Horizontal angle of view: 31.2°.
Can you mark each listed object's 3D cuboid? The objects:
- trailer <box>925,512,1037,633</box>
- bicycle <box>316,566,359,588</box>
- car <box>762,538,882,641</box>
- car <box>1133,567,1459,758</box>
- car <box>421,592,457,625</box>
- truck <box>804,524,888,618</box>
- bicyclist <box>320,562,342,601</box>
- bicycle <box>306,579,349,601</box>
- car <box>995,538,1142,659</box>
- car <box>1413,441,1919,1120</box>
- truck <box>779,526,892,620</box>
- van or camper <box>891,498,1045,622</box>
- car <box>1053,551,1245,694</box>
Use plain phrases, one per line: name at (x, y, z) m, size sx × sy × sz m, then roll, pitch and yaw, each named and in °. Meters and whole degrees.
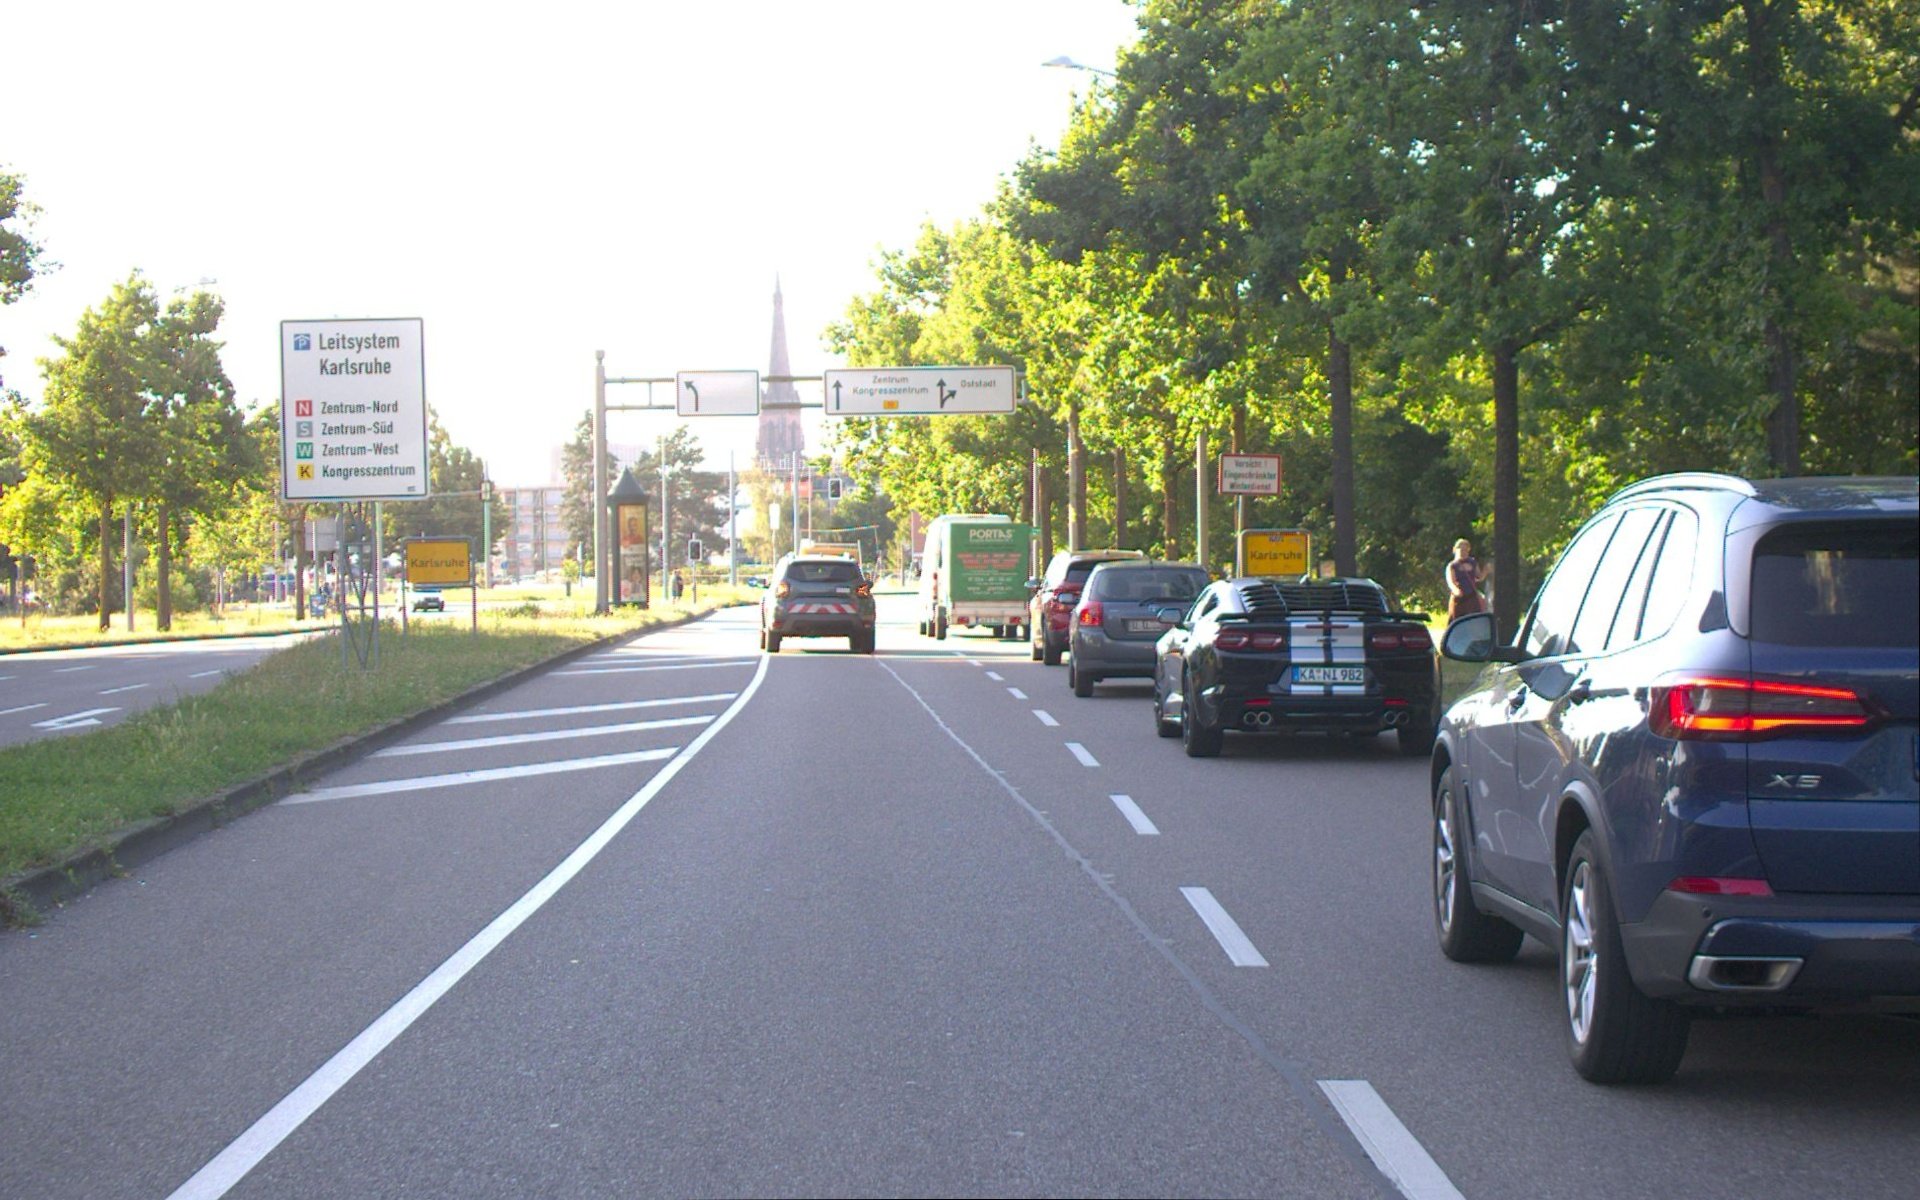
trailer at (0.401, -0.568, 70.445) m, size 2.090 × 2.392 × 3.501 m, roll 1°, pitch 1°, yaw -3°
bicycle at (-28.803, -1.068, 159.111) m, size 1.908 × 1.016 × 0.504 m, roll 0°, pitch 1°, yaw 5°
car at (-2.374, -0.187, 58.235) m, size 1.905 × 1.654 × 4.001 m, roll -1°, pitch 0°, yaw -4°
car at (2.518, 0.427, 26.881) m, size 1.854 × 1.333 × 4.626 m, roll 0°, pitch 1°, yaw -3°
car at (-25.790, 0.403, 170.117) m, size 1.562 × 1.569 × 3.413 m, roll -1°, pitch 1°, yaw -6°
truck at (-3.334, -0.847, 99.770) m, size 2.219 × 2.642 × 4.774 m, roll -1°, pitch 1°, yaw -4°
bicyclist at (-28.879, -0.860, 157.823) m, size 0.813 × 1.764 × 0.496 m, roll 1°, pitch 0°, yaw 12°
bicycle at (-29.038, -0.453, 157.863) m, size 1.909 × 1.016 × 0.504 m, roll 0°, pitch 0°, yaw 13°
car at (1.509, -0.004, 48.998) m, size 1.747 × 1.615 × 3.820 m, roll 1°, pitch -1°, yaw -3°
car at (2.718, 0.456, 11.073) m, size 1.955 × 1.721 × 4.699 m, roll 0°, pitch 0°, yaw 1°
truck at (-3.598, -0.797, 97.955) m, size 2.580 × 2.549 × 6.253 m, roll -1°, pitch 1°, yaw -8°
van or camper at (0.103, -0.897, 76.347) m, size 2.284 × 2.620 × 6.585 m, roll 0°, pitch 1°, yaw -10°
car at (2.038, 0.207, 38.021) m, size 1.747 × 1.468 × 3.820 m, roll -1°, pitch 1°, yaw -2°
